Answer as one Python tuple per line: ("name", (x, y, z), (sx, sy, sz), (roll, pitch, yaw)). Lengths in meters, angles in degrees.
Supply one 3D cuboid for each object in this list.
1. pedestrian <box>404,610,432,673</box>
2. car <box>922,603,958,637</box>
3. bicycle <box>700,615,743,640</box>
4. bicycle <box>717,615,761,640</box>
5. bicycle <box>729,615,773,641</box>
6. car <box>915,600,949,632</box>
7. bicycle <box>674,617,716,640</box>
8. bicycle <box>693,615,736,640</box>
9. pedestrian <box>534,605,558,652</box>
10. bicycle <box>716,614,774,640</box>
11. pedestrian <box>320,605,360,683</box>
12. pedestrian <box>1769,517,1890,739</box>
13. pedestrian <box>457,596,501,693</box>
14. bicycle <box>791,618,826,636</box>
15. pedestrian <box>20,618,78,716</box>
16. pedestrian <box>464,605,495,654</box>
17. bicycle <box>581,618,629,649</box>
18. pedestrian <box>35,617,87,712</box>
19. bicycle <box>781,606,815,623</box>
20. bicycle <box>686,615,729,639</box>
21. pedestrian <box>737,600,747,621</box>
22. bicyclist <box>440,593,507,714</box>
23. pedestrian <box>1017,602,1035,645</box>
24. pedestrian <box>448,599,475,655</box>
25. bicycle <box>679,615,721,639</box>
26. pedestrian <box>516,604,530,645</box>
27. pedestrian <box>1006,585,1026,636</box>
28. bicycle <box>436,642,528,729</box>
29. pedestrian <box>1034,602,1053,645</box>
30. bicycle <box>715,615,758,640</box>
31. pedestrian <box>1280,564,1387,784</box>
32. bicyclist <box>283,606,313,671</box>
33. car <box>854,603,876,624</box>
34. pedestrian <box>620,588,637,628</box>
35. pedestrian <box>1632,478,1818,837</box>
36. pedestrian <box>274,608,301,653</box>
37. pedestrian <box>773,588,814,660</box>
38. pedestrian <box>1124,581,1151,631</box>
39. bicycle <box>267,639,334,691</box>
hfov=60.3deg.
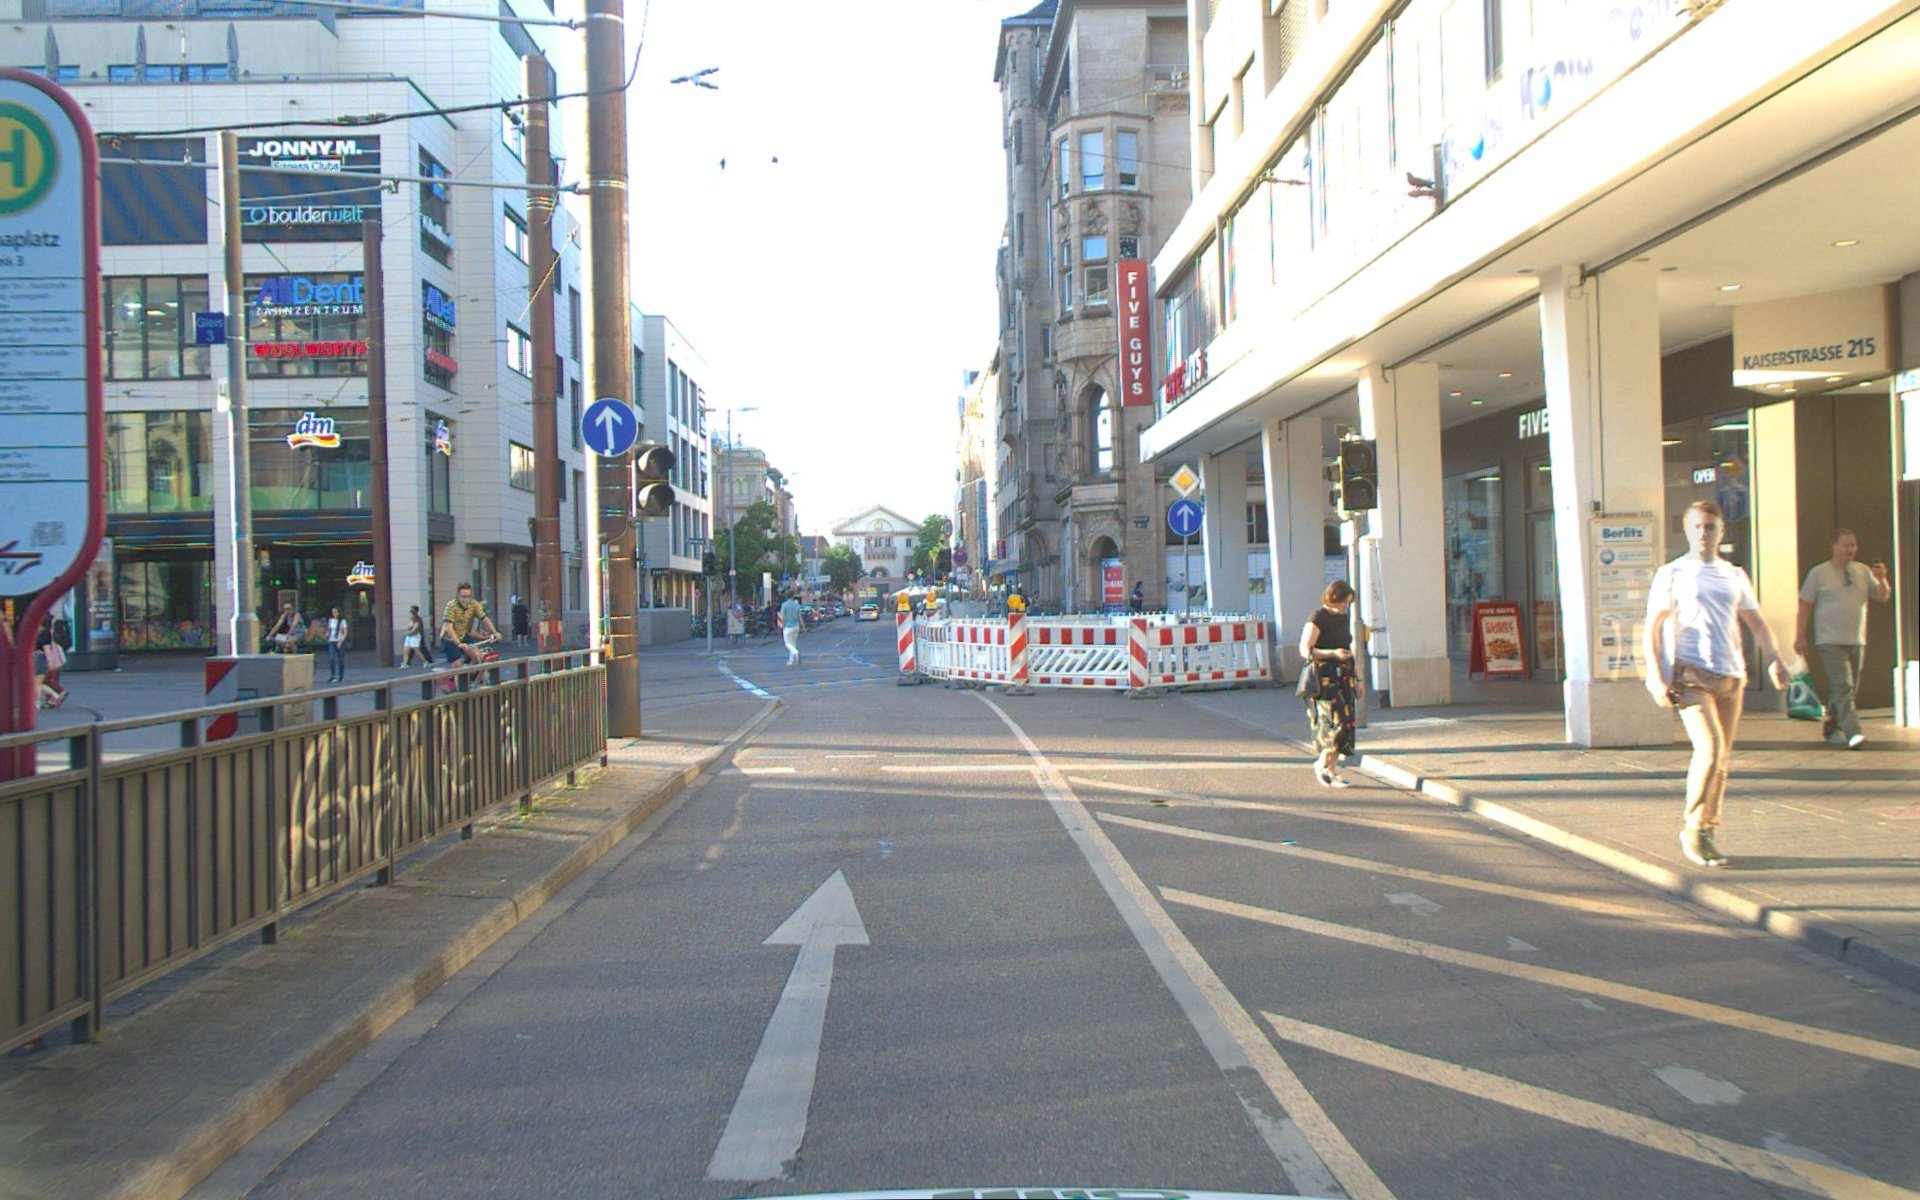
("pedestrian", (-15.007, 1.141, 45.788), (0.518, 1.703, 0.650), (-1, 0, -1))
("car", (-1.007, 1.008, 82.801), (1.645, 1.574, 3.671), (-3, 0, -2))
("bicycle", (-11.181, 1.280, 77.528), (1.947, 1.141, 0.552), (0, -1, -31))
("bicycle", (-10.146, 1.268, 75.996), (1.947, 1.141, 0.552), (0, -1, -31))
("bicycle", (-9.519, 1.261, 75.270), (1.947, 1.141, 0.552), (0, -1, -31))
("car", (-1.534, 0.850, 88.802), (1.645, 1.641, 4.026), (-3, 0, -2))
("bicycle", (-12.859, 1.375, 80.284), (1.947, 1.141, 0.552), (0, -1, -31))
("bicycle", (-11.599, 1.286, 78.153), (1.947, 1.141, 0.552), (0, -1, -31))
("pedestrian", (-15.716, 1.066, 62.772), (0.766, 1.782, 0.599), (0, -1, -5))
("bicycle", (-11.142, 1.401, 85.702), (2.854, 1.277, 0.796), (-2, 0, -28))
("pedestrian", (-13.873, 0.984, 37.006), (0.635, 1.703, 0.530), (-1, 0, 6))
("pedestrian", (7.379, 0.231, 14.051), (0.685, 1.847, 0.630), (0, 0, -1))
("pedestrian", (-8.811, 0.809, 30.274), (0.732, 1.730, 0.607), (-1, -1, -18))
("bicycle", (-9.518, 1.693, 103.656), (2.104, 1.047, 0.640), (-2, 0, 0))
("pedestrian", (-15.753, 1.147, 28.612), (0.811, 1.642, 0.687), (-1, 0, -27))
("pedestrian", (-16.742, 1.033, 57.661), (0.750, 1.688, 0.817), (0, -1, 12))
("bicycle", (-13.043, 1.219, 60.788), (1.661, 1.141, 0.451), (0, -1, 0))
("pedestrian", (-16.092, 1.138, 29.612), (0.761, 1.642, 0.661), (-1, 0, -27))
("bicycle", (-10.340, 0.916, 105.766), (2.104, 1.047, 0.640), (-2, 0, 0))
("bicycle", (-12.012, 1.291, 78.766), (1.947, 1.141, 0.552), (0, -1, -31))
("pedestrian", (-17.430, 0.822, 132.343), (0.666, 1.649, 0.573), (-1, -1, -3))
("bicyclist", (-6.734, 0.730, 22.878), (0.604, 1.621, 0.780), (-1, -1, -40))
("pedestrian", (2.653, 0.949, 66.581), (0.612, 1.719, 0.671), (-2, -1, -4))
("pedestrian", (-17.115, 0.925, 56.791), (0.560, 1.887, 0.817), (0, -1, 10))
("bicycle", (-12.479, 1.296, 79.352), (1.947, 1.141, 0.552), (0, -1, -31))
("pedestrian", (-16.414, 0.927, 62.163), (0.382, 1.541, 0.505), (-1, 0, -3))
("pedestrian", (1.943, 0.365, 57.365), (0.612, 1.719, 0.671), (-2, -1, -4))
("bicycle", (-6.596, 1.170, 22.773), (0.624, 1.123, 1.602), (-1, -1, -39))
("pedestrian", (3.364, 0.941, 66.668), (0.612, 1.719, 0.625), (-2, -1, -4))
("bicycle", (-10.362, 1.273, 76.705), (1.947, 1.141, 0.552), (0, -1, -31))
("pedestrian", (2.993, 0.584, 13.287), (0.686, 1.723, 0.540), (0, -1, -9))
("bicyclist", (-14.923, 0.866, 37.287), (0.411, 1.452, 0.564), (0, -1, 7))
("car", (-8.877, 1.219, 154.230), (1.953, 1.937, 3.998), (0, 0, -2))
("pedestrian", (-14.448, 0.344, 72.125), (0.667, 1.710, 0.599), (0, -1, -5))
("pedestrian", (4.122, 0.297, 8.969), (0.684, 1.847, 0.853), (0, 0, 8))
("pedestrian", (-23.806, 1.073, 58.541), (0.560, 1.553, 0.791), (0, -1, 10))
("pedestrian", (-4.131, 0.595, 41.096), (0.847, 1.792, 0.768), (0, -1, 10))
("pedestrian", (5.871, 0.213, 54.691), (0.803, 1.639, 0.713), (0, -1, -3))
("bicycle", (-14.918, 1.447, 37.441), (0.561, 1.117, 2.023), (0, -1, 5))
